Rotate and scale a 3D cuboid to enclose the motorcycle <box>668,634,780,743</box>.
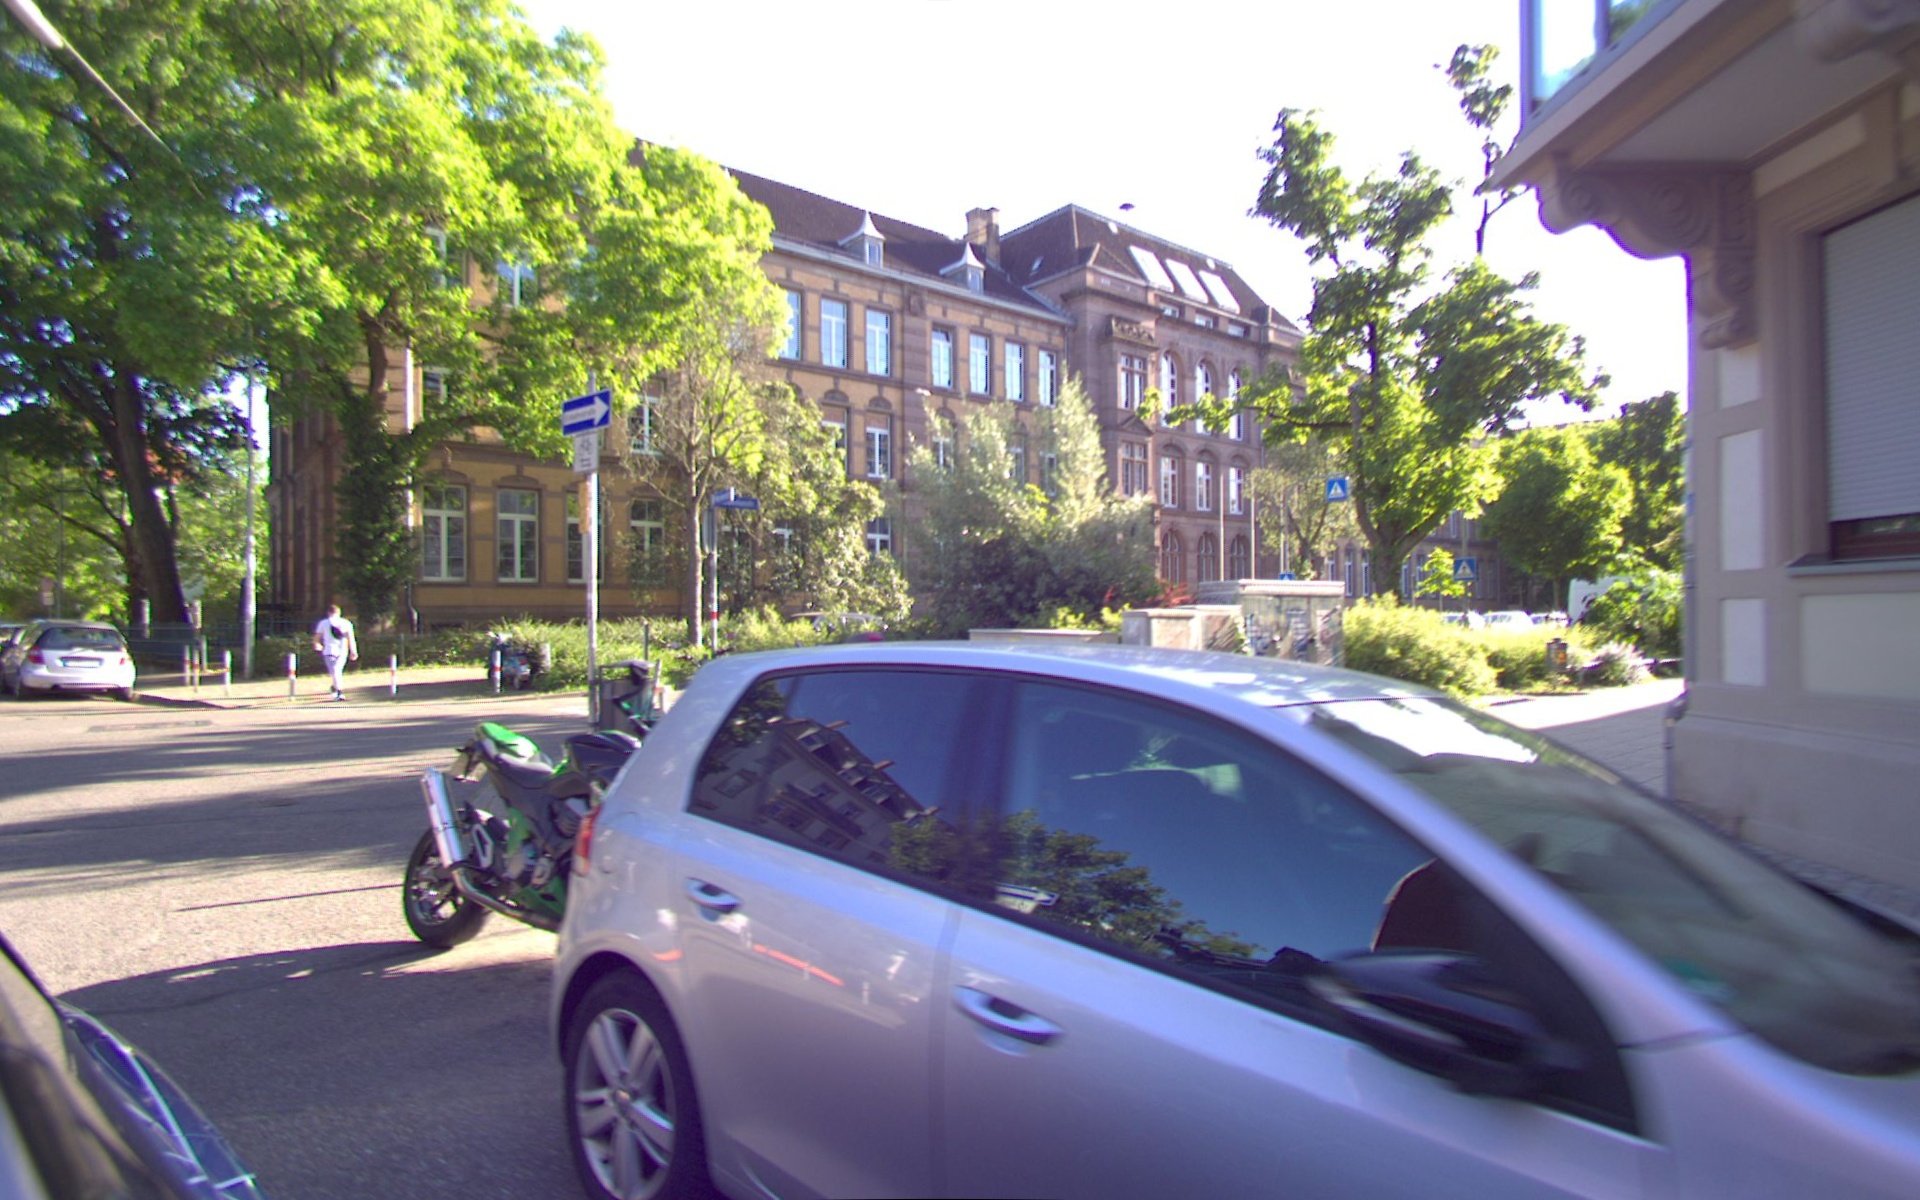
[{"bbox_3d":[-2.757,0.967,11.672,0.630,1.098,1.875,0,0,-34],"label":"motorcycle"}]

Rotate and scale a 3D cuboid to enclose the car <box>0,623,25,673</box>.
[{"bbox_3d":[-29.957,1.446,30.946,3.309,1.475,1.604,-2,-3,41],"label":"car"}]

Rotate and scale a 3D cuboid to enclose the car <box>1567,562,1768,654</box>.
[{"bbox_3d":[22.552,0.294,32.436,2.103,2.726,4.916,1,-2,-42],"label":"car"}]

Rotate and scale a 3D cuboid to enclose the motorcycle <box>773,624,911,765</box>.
[{"bbox_3d":[-1.220,0.858,10.008,0.603,1.205,2.050,0,0,-30],"label":"motorcycle"}]

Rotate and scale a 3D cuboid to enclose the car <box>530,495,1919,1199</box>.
[{"bbox_3d":[0.828,0.674,2.122,3.932,1.494,1.761,-2,-1,43],"label":"car"}]

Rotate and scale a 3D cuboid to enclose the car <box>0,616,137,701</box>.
[{"bbox_3d":[-18.404,1.151,20.690,3.950,1.570,1.688,-1,-4,41],"label":"car"}]

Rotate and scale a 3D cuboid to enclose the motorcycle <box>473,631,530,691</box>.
[{"bbox_3d":[-9.032,1.182,19.909,0.536,1.110,1.899,1,-2,-40],"label":"motorcycle"}]

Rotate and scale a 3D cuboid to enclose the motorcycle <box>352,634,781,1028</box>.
[{"bbox_3d":[-1.740,0.828,4.338,1.995,1.344,0.671,-1,-4,34],"label":"motorcycle"}]

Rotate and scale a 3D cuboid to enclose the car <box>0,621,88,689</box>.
[{"bbox_3d":[-22.549,1.274,24.168,3.990,1.475,1.567,0,-4,35],"label":"car"}]

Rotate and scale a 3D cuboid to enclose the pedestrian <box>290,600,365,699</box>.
[{"bbox_3d":[-11.617,0.891,18.584,1.002,1.759,0.797,-1,-1,30],"label":"pedestrian"}]

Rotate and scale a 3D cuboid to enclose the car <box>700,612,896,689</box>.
[{"bbox_3d":[-3.638,1.084,23.166,4.082,1.587,1.887,0,-1,-42],"label":"car"}]

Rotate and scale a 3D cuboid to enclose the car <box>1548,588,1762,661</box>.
[{"bbox_3d":[20.756,0.728,30.426,1.968,2.029,4.918,1,-2,-39],"label":"car"}]

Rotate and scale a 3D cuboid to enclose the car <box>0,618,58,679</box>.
[{"bbox_3d":[-25.965,1.299,27.328,3.996,1.545,1.770,-2,-4,40],"label":"car"}]
